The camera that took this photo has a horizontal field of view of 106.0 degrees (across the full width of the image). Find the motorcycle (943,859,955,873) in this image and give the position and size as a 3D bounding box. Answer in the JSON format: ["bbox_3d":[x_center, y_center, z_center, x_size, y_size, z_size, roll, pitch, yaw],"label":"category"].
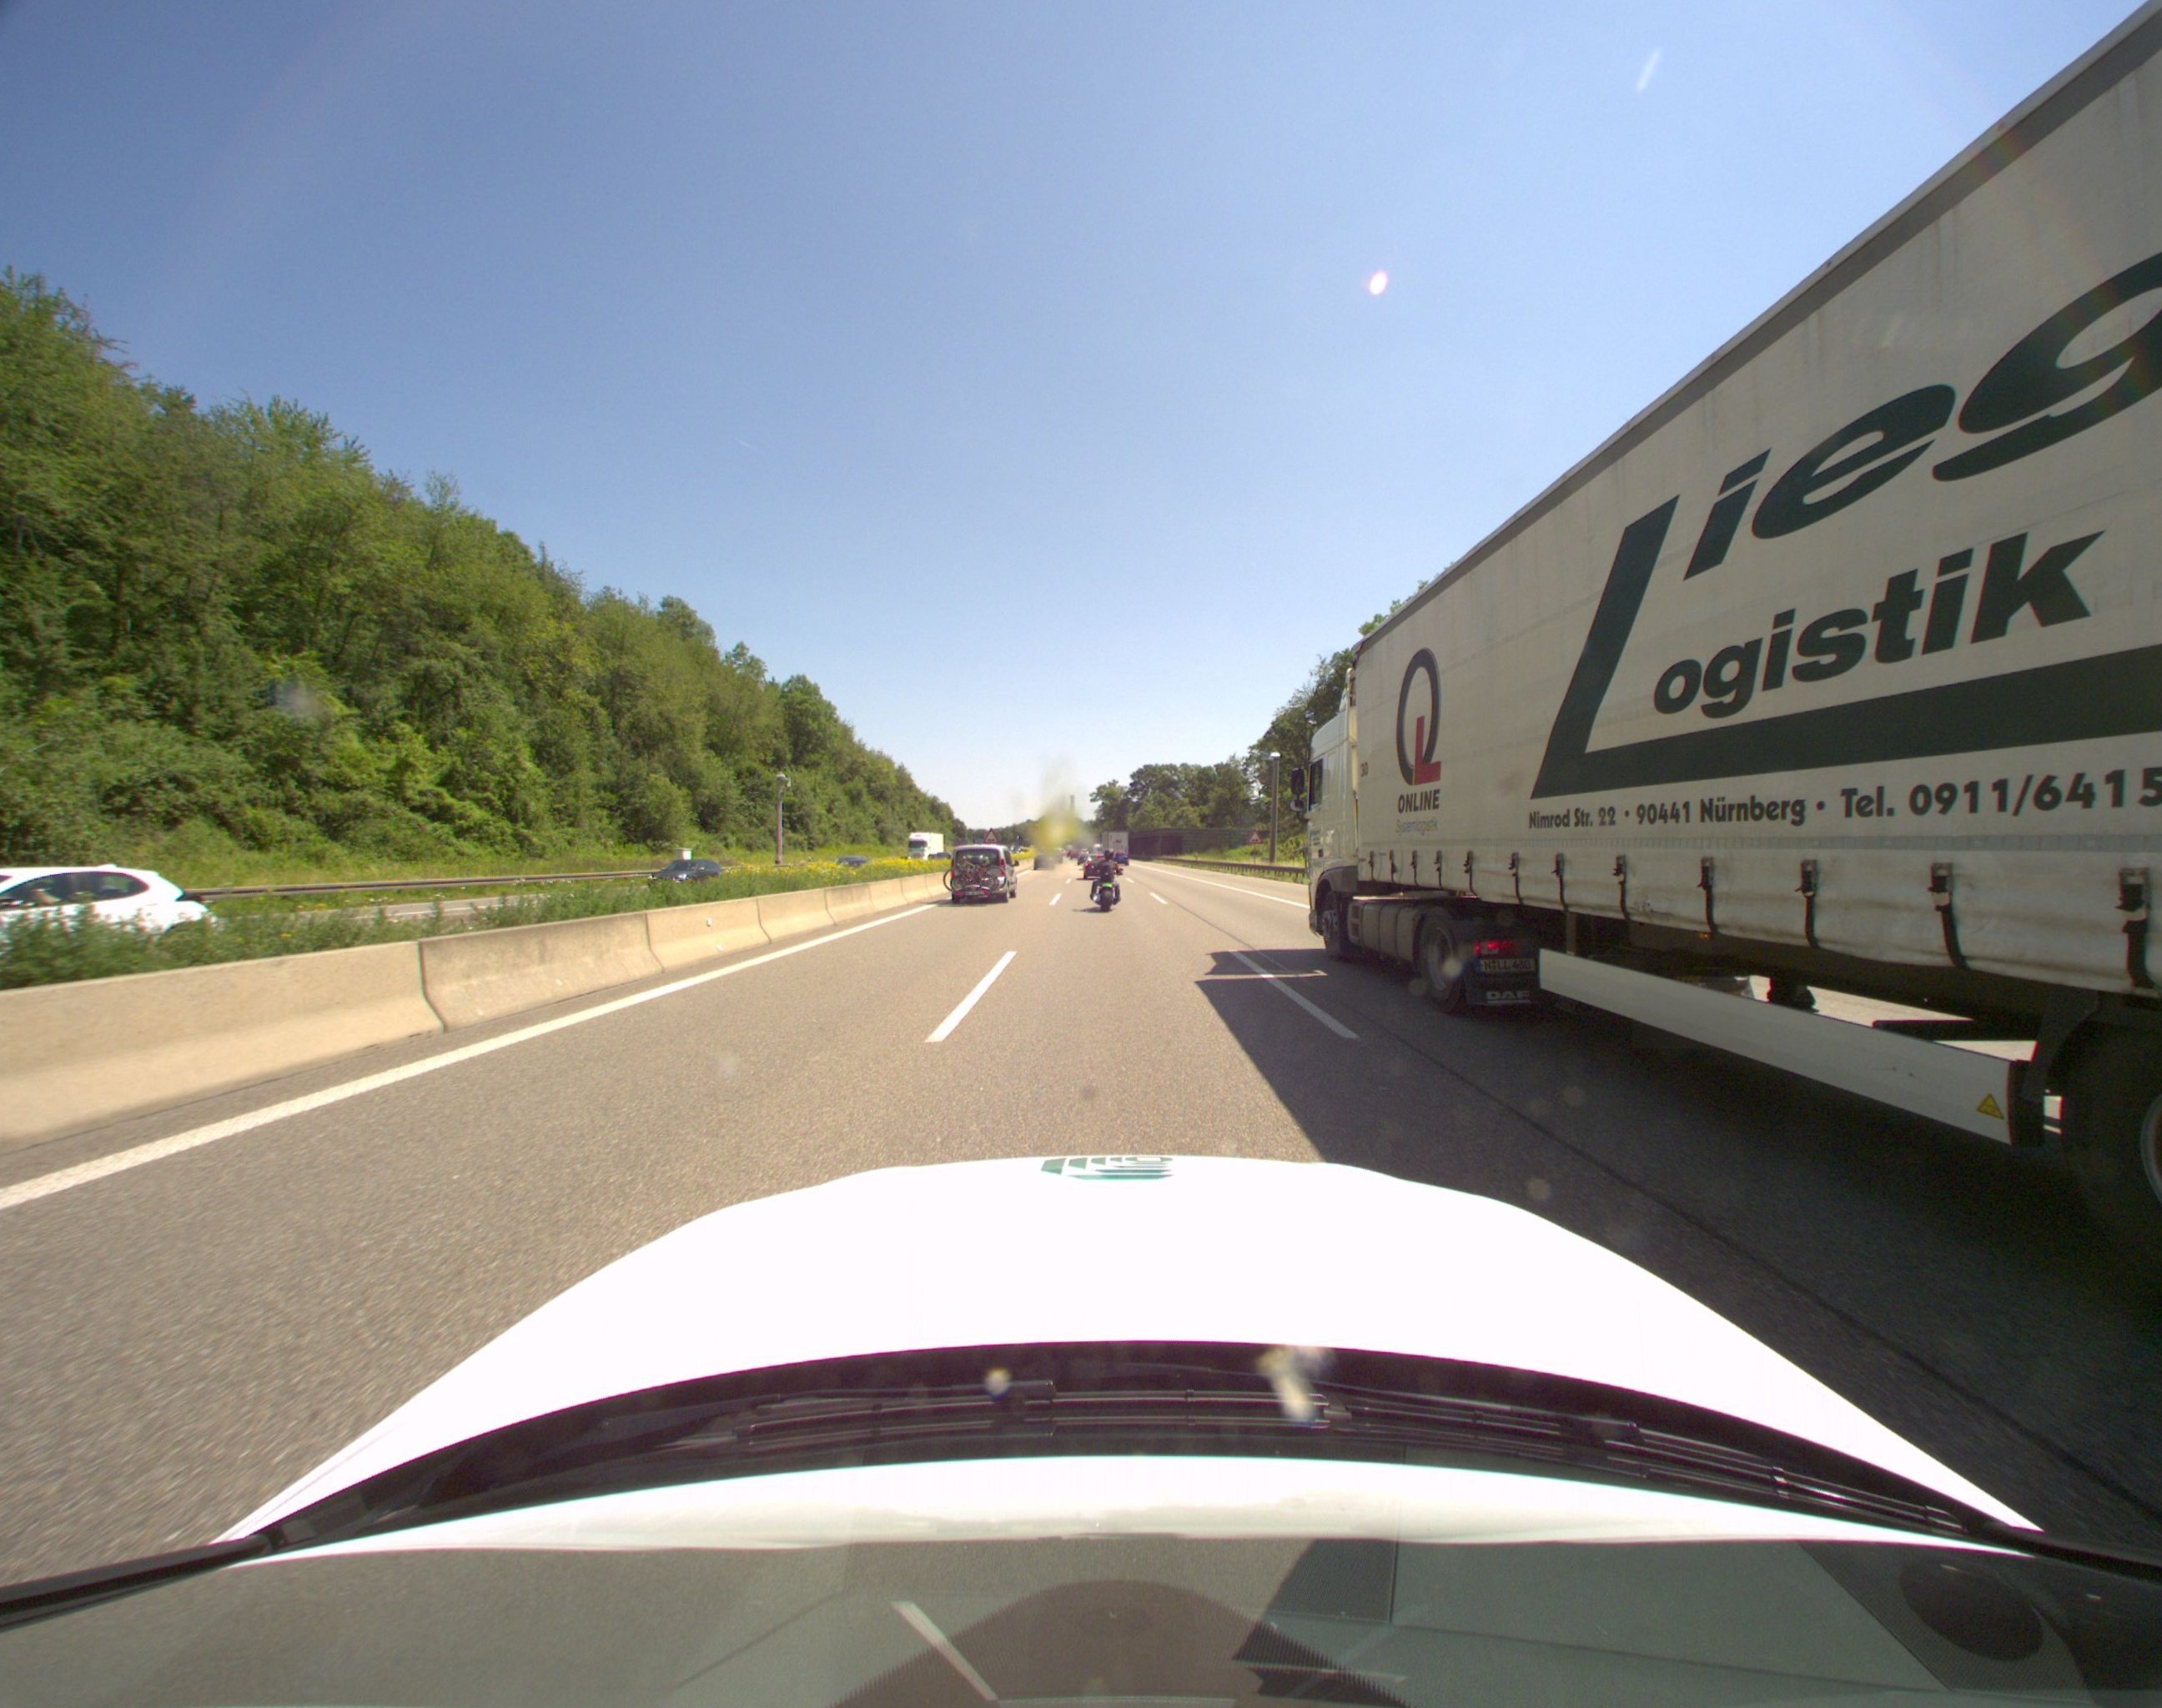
[{"bbox_3d":[-10.315,0.942,63.754,0.621,1.033,1.467,0,0,1],"label":"motorcycle"}]

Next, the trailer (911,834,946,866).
[{"bbox_3d":[-21.650,-0.439,116.183,2.707,4.208,13.922,0,-1,-2],"label":"trailer"}]

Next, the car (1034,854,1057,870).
[{"bbox_3d":[-3.191,0.741,72.468,1.989,1.387,3.996,0,-1,-3],"label":"car"}]

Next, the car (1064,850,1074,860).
[{"bbox_3d":[-2.453,0.241,166.768,1.907,2.014,3.686,0,-1,-3],"label":"car"}]

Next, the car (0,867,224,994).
[{"bbox_3d":[-13.881,0.950,10.456,1.665,1.508,3.829,0,0,1],"label":"car"}]

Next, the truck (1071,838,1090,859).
[{"bbox_3d":[-0.080,-1.249,199.543,3.797,4.960,8.933,0,-1,-6],"label":"truck"}]

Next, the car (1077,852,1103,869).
[{"bbox_3d":[0.751,0.561,70.989,1.989,1.430,3.842,0,-1,-3],"label":"car"}]

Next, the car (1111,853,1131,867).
[{"bbox_3d":[4.406,0.641,90.149,1.647,1.483,4.475,0,-1,-4],"label":"car"}]

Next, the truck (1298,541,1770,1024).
[{"bbox_3d":[4.741,-0.667,10.074,2.775,4.204,5.873,0,1,2],"label":"truck"}]

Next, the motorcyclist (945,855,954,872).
[{"bbox_3d":[-10.314,0.730,63.725,0.621,1.334,0.577,0,0,0],"label":"motorcyclist"}]

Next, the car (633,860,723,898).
[{"bbox_3d":[-17.865,1.048,36.330,1.987,1.508,4.000,-1,0,0],"label":"car"}]

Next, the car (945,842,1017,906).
[{"bbox_3d":[-3.100,0.609,26.157,1.894,1.873,4.409,0,-1,-2],"label":"car"}]

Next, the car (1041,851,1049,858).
[{"bbox_3d":[-8.571,0.106,194.046,1.828,1.496,3.739,0,-1,-3],"label":"car"}]

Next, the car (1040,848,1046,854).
[{"bbox_3d":[-10.963,-0.892,234.156,1.828,1.496,3.738,0,-1,-3],"label":"car"}]

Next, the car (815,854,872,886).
[{"bbox_3d":[-13.516,0.856,46.637,1.986,1.728,4.001,0,0,1],"label":"car"}]

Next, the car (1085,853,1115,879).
[{"bbox_3d":[1.095,0.710,47.770,1.657,1.453,3.868,0,-1,0],"label":"car"}]

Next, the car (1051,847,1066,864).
[{"bbox_3d":[-2.818,0.206,102.763,1.786,2.014,3.641,0,-1,0],"label":"car"}]

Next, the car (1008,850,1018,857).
[{"bbox_3d":[-15.585,-0.149,186.387,1.987,1.486,3.999,0,-1,0],"label":"car"}]

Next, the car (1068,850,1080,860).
[{"bbox_3d":[-1.256,0.212,139.728,1.989,1.640,3.996,0,-1,-3],"label":"car"}]

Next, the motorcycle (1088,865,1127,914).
[{"bbox_3d":[0.706,0.901,21.561,0.961,1.148,2.813,0,1,2],"label":"motorcycle"}]

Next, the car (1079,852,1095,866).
[{"bbox_3d":[0.647,0.614,94.130,1.774,1.552,3.583,0,-1,-1],"label":"car"}]

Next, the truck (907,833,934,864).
[{"bbox_3d":[-21.513,-0.663,109.256,2.682,4.090,5.200,0,-1,-1],"label":"truck"}]

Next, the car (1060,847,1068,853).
[{"bbox_3d":[-5.020,-1.154,237.397,2.104,1.876,3.993,0,-1,-5],"label":"car"}]

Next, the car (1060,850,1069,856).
[{"bbox_3d":[-3.727,-0.237,185.863,1.828,1.496,3.739,0,-1,-3],"label":"car"}]

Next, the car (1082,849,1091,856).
[{"bbox_3d":[1.195,-0.354,187.590,1.988,1.574,3.997,0,-1,-2],"label":"car"}]

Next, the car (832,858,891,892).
[{"bbox_3d":[-10.567,0.961,39.425,1.755,1.510,3.999,0,0,0],"label":"car"}]

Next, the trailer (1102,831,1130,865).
[{"bbox_3d":[4.359,-0.763,105.015,2.877,4.038,13.791,0,0,-1],"label":"trailer"}]

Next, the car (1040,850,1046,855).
[{"bbox_3d":[-12.056,-0.538,257.148,1.834,1.629,3.997,-1,0,-2],"label":"car"}]

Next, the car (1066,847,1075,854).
[{"bbox_3d":[-3.015,-1.102,231.872,2.104,1.876,3.993,0,-1,-5],"label":"car"}]

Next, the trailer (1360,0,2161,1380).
[{"bbox_3d":[4.474,-0.634,3.195,2.775,4.204,13.253,0,1,3],"label":"trailer"}]

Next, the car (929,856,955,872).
[{"bbox_3d":[-14.153,1.000,83.266,1.942,1.642,3.979,-1,0,0],"label":"car"}]

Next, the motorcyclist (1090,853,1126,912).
[{"bbox_3d":[0.733,0.737,21.515,0.896,1.475,1.873,0,-1,2],"label":"motorcyclist"}]

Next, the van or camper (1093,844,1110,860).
[{"bbox_3d":[3.590,-0.360,144.979,2.678,2.813,6.798,0,-1,-2],"label":"van or camper"}]
